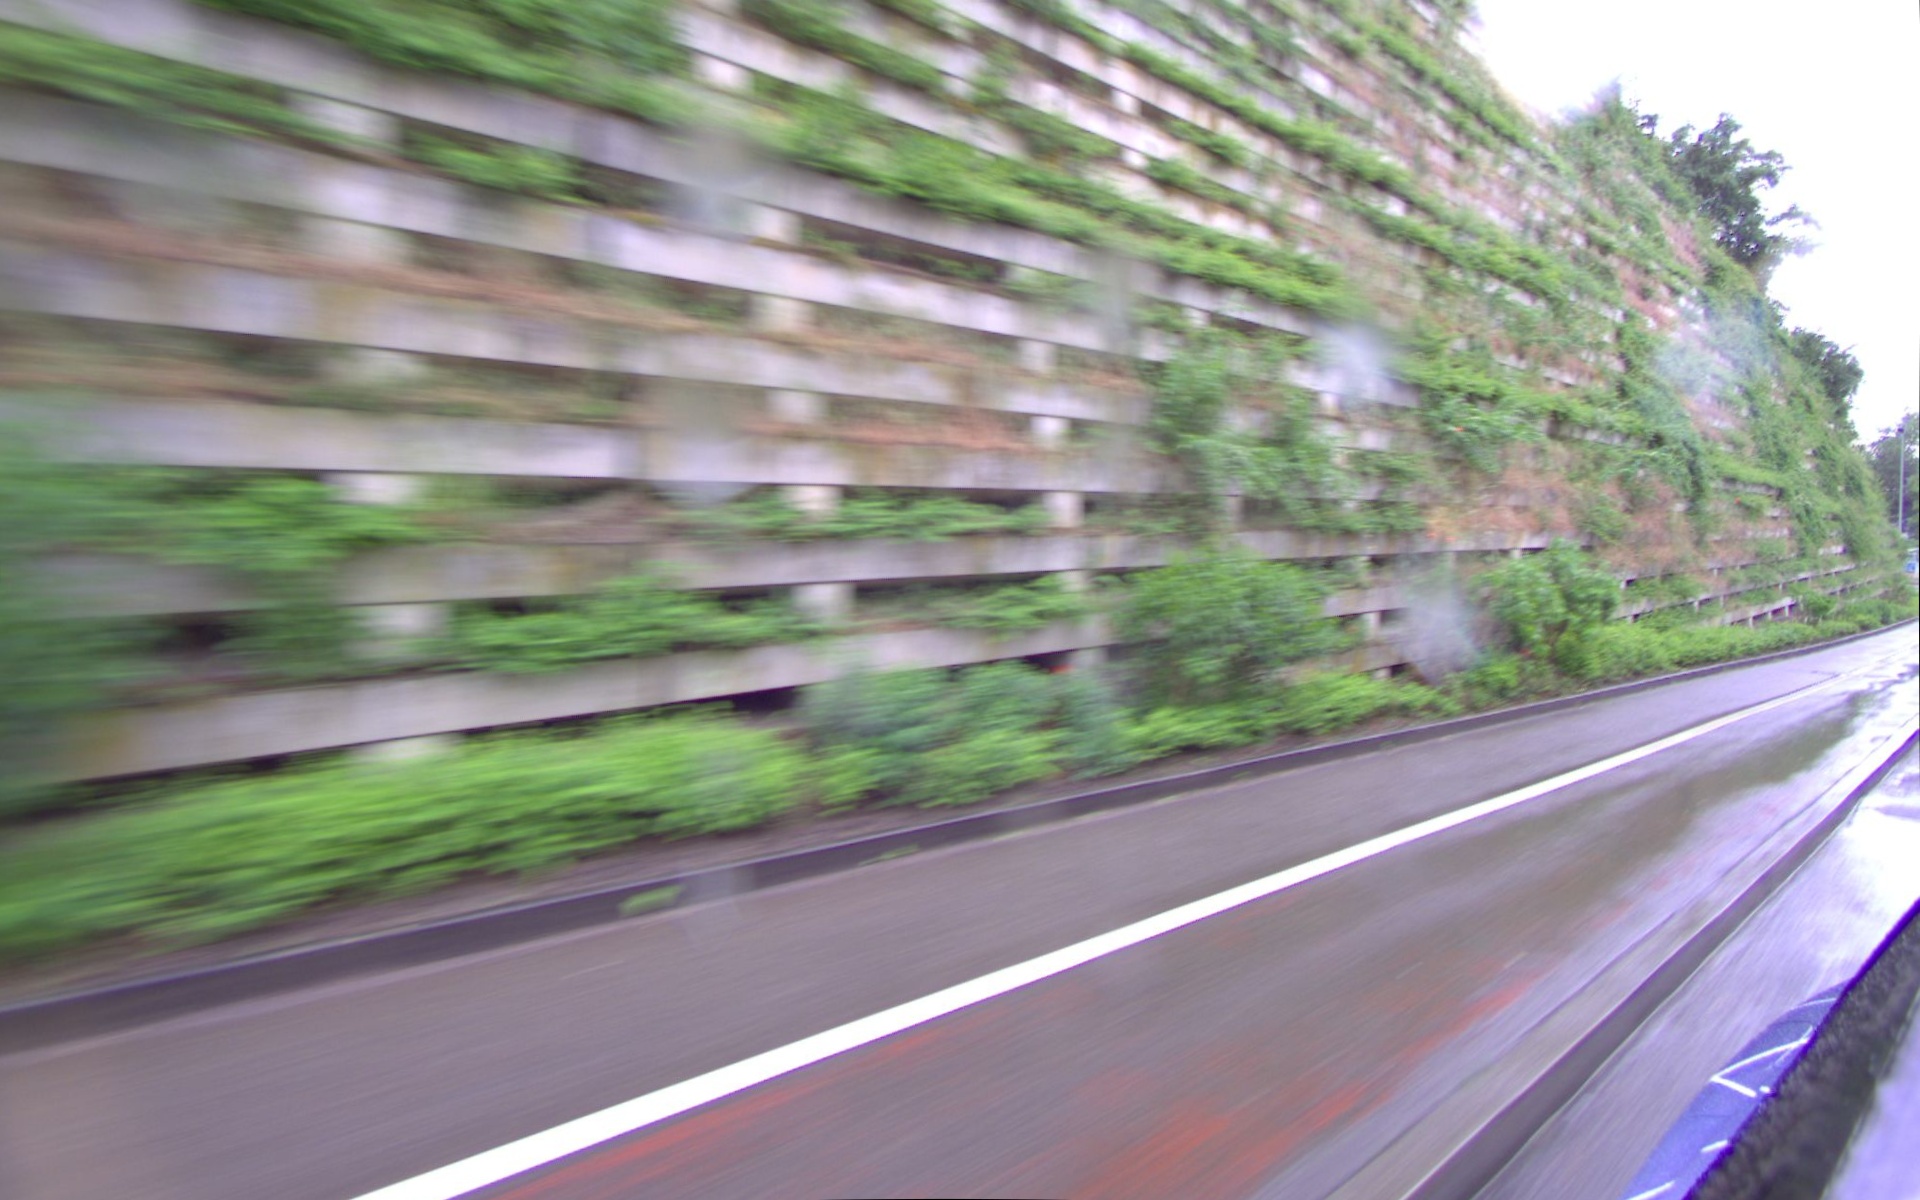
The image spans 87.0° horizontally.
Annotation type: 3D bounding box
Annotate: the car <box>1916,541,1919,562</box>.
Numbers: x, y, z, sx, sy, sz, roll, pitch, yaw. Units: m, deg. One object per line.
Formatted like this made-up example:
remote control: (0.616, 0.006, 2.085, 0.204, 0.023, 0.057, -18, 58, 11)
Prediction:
car: (84.755, -4.031, 86.314, 1.888, 1.786, 4.387, -2, 6, -40)

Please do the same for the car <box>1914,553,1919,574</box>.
car: (76.141, -2.695, 77.720, 1.641, 1.592, 3.997, -2, 6, -41)

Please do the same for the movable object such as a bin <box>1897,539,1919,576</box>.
movable object such as a bin: (71.913, -3.056, 74.043, 2.277, 2.718, 5.683, 3, 3, 13)
